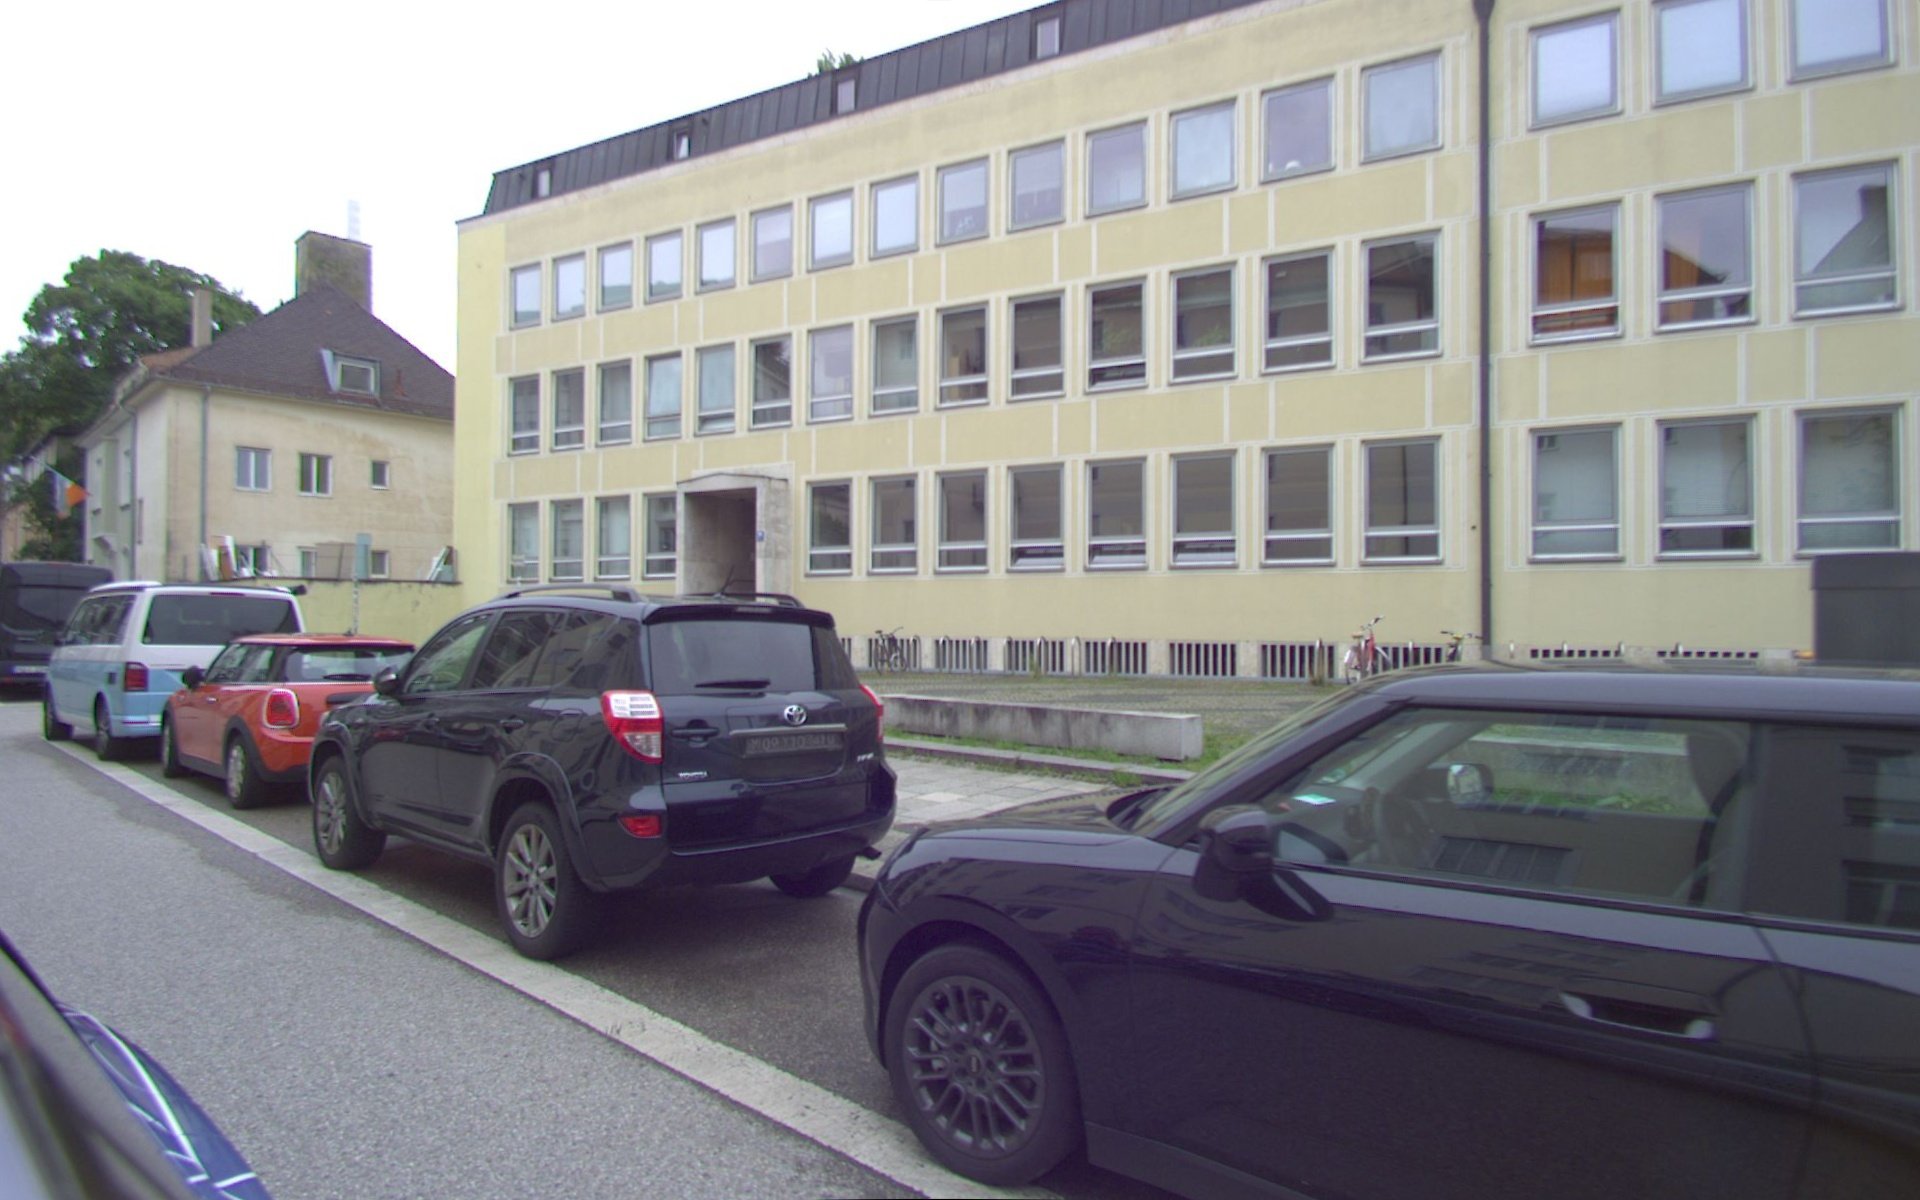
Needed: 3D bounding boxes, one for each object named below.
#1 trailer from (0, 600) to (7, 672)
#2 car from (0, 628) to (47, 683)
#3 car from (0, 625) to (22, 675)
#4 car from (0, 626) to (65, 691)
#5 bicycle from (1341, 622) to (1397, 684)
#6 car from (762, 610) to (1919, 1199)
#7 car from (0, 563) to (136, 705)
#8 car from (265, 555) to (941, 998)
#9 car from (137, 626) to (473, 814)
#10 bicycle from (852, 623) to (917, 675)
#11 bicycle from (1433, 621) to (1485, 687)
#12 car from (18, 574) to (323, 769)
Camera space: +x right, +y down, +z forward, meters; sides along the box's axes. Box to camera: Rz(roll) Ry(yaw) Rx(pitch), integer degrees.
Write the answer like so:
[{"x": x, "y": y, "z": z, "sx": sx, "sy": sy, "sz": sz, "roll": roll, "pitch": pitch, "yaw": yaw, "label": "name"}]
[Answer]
[{"x": -35.542, "y": 1.239, "z": 36.310, "sx": 1.792, "sy": 2.555, "sz": 3.392, "roll": 6, "pitch": -5, "yaw": -43, "label": "trailer"}, {"x": -26.883, "y": 1.502, "z": 28.094, "sx": 4.066, "sy": 1.436, "sz": 1.676, "roll": -1, "pitch": -2, "yaw": 40, "label": "car"}, {"x": -31.477, "y": 1.572, "z": 32.402, "sx": 4.644, "sy": 1.511, "sz": 1.793, "roll": -1, "pitch": -2, "yaw": 44, "label": "car"}, {"x": -23.568, "y": 1.393, "z": 24.875, "sx": 3.484, "sy": 1.505, "sz": 1.686, "roll": -1, "pitch": -1, "yaw": 37, "label": "car"}, {"x": 7.267, "y": 0.908, "z": 17.929, "sx": 0.623, "sy": 1.022, "sz": 1.932, "roll": -1, "pitch": -1, "yaw": 31, "label": "bicycle"}, {"x": 1.384, "y": 0.795, "z": 2.581, "sx": 3.867, "sy": 1.465, "sz": 1.663, "roll": -1, "pitch": -3, "yaw": 41, "label": "car"}, {"x": -19.577, "y": 0.716, "z": 21.613, "sx": 5.653, "sy": 2.666, "sz": 2.272, "roll": -2, "pitch": -3, "yaw": 43, "label": "car"}, {"x": -2.355, "y": 0.759, "z": 5.976, "sx": 4.446, "sy": 1.679, "sz": 1.725, "roll": -1, "pitch": -5, "yaw": 41, "label": "car"}, {"x": -6.388, "y": 0.969, "z": 9.704, "sx": 3.917, "sy": 1.398, "sz": 1.725, "roll": -1, "pitch": -1, "yaw": 42, "label": "car"}, {"x": -1.624, "y": 1.056, "z": 22.167, "sx": 0.577, "sy": 1.022, "sz": 1.937, "roll": -1, "pitch": 0, "yaw": 24, "label": "bicycle"}, {"x": 8.460, "y": 0.885, "z": 17.133, "sx": 0.623, "sy": 1.022, "sz": 1.932, "roll": -1, "pitch": -1, "yaw": 31, "label": "bicycle"}, {"x": -10.051, "y": 0.794, "z": 12.725, "sx": 5.017, "sy": 1.994, "sz": 1.909, "roll": -1, "pitch": -3, "yaw": 39, "label": "car"}]
